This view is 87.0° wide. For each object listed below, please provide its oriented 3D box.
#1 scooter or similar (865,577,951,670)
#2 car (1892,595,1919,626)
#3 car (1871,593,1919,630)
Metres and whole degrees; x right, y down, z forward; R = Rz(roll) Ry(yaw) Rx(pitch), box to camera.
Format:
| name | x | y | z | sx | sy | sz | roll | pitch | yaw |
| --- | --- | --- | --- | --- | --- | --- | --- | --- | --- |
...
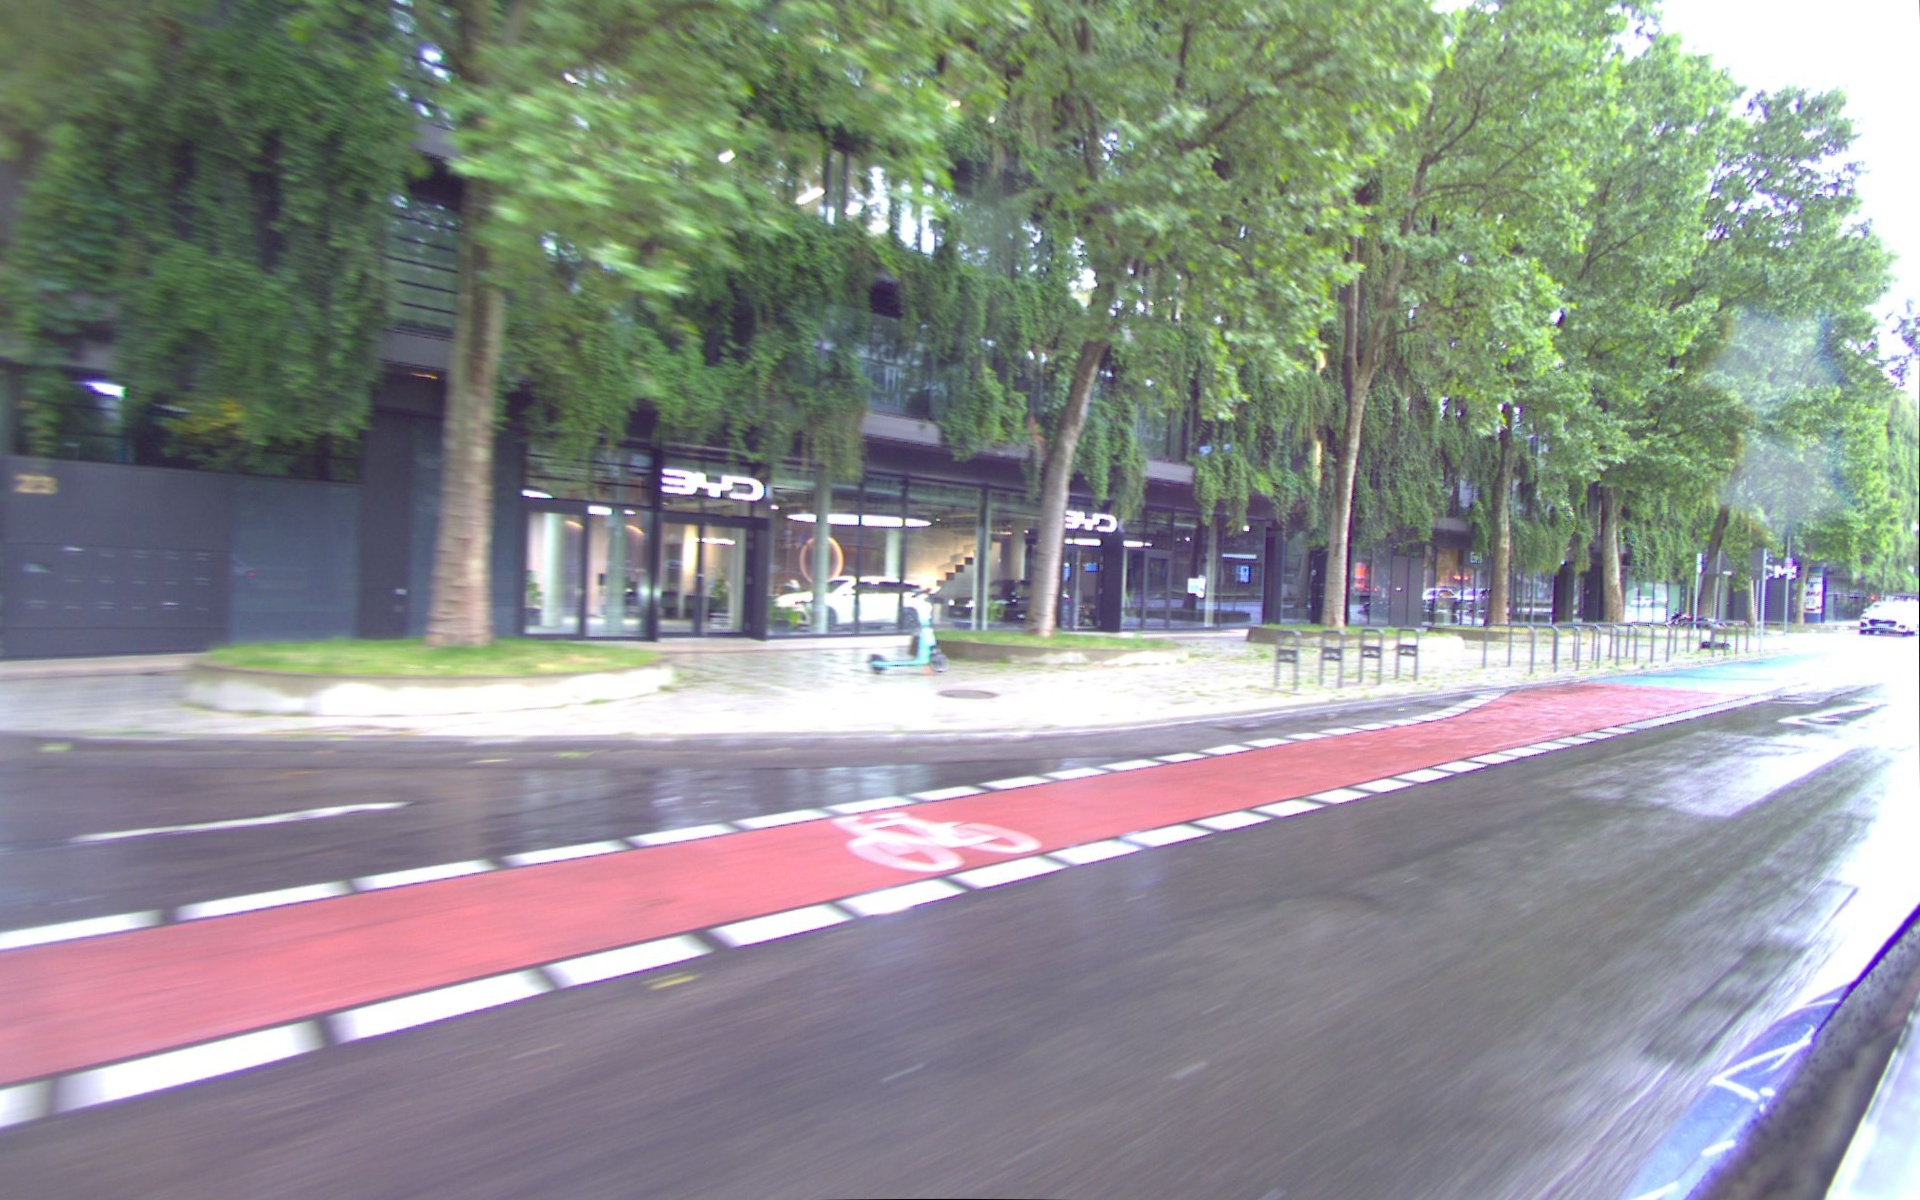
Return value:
| name | x | y | z | sx | sy | sz | roll | pitch | yaw |
| --- | --- | --- | --- | --- | --- | --- | --- | --- | --- |
| scooter or similar | -0.743 | 0.329 | 14.573 | 1.165 | 1.298 | 0.535 | 0 | 0 | 10 |
| car | 52.245 | 0.539 | 54.815 | 4.503 | 1.581 | 2.035 | -1 | 1 | -40 |
| car | 47.603 | 0.550 | 51.056 | 4.520 | 1.757 | 1.930 | -1 | 1 | -42 |
